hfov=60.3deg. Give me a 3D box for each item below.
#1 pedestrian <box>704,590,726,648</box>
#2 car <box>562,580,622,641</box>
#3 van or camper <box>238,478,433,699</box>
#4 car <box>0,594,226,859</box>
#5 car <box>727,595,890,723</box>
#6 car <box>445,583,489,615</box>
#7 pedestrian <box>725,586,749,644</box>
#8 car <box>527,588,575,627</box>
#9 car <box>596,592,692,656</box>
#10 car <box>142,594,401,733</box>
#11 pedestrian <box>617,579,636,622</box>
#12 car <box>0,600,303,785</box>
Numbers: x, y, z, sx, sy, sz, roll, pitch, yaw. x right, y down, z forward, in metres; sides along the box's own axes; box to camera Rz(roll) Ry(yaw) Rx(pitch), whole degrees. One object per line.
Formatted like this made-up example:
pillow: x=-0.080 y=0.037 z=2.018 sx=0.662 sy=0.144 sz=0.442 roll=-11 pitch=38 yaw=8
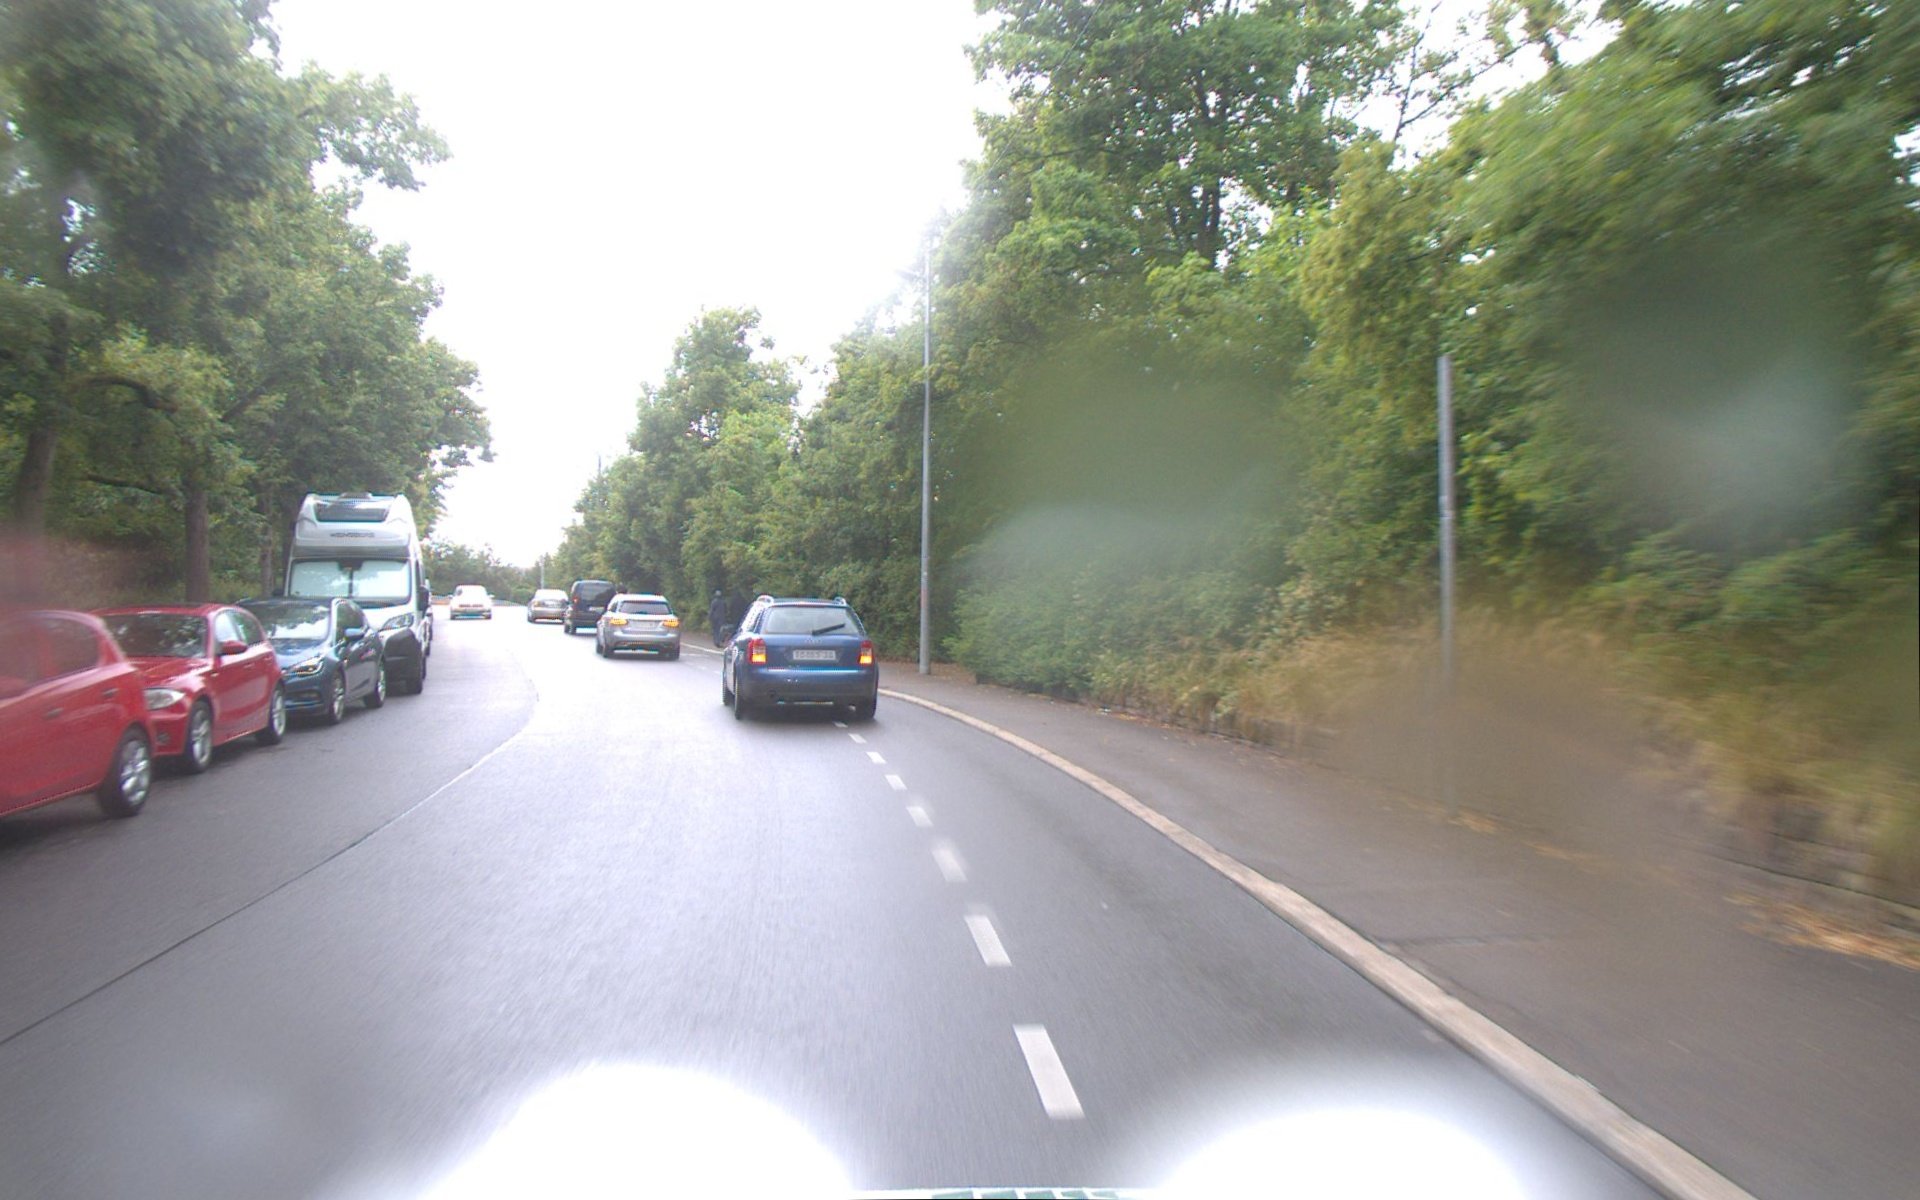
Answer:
pedestrian: x=-6.773 y=0.528 z=45.696 sx=0.542 sy=1.594 sz=0.485 roll=0 pitch=0 yaw=-13
car: x=-12.882 y=0.404 z=57.746 sx=1.759 sy=1.987 sz=3.983 roll=-2 pitch=-1 yaw=-16
van or camper: x=-9.832 y=-0.179 z=26.591 sx=2.466 sy=3.079 sz=6.529 roll=-1 pitch=0 yaw=-17
car: x=-6.517 y=0.759 z=10.381 sx=1.915 sy=1.486 sz=4.572 roll=-2 pitch=1 yaw=-3
car: x=-2.014 y=0.676 z=20.974 sx=1.715 sy=1.432 sz=3.990 roll=1 pitch=0 yaw=-10
car: x=-22.500 y=-0.025 z=75.365 sx=1.854 sy=1.427 sz=4.234 roll=0 pitch=0 yaw=-18
pedestrian: x=-6.178 y=0.414 z=45.795 sx=0.585 sy=1.594 sz=0.667 roll=1 pitch=0 yaw=-14
car: x=-17.875 y=0.304 z=72.179 sx=1.794 sy=1.645 sz=3.765 roll=0 pitch=0 yaw=-18
car: x=-7.626 y=0.543 z=39.641 sx=1.861 sy=1.413 sz=3.981 roll=1 pitch=0 yaw=-17
car: x=-8.308 y=0.689 z=20.371 sx=1.918 sy=1.433 sz=4.200 roll=-2 pitch=1 yaw=-8
pedestrian: x=-14.731 y=0.018 z=73.009 sx=0.705 sy=1.867 sz=1.017 roll=-1 pitch=0 yaw=-16
car: x=-7.580 y=0.762 z=15.385 sx=1.918 sy=1.433 sz=3.537 roll=-2 pitch=1 yaw=-8
